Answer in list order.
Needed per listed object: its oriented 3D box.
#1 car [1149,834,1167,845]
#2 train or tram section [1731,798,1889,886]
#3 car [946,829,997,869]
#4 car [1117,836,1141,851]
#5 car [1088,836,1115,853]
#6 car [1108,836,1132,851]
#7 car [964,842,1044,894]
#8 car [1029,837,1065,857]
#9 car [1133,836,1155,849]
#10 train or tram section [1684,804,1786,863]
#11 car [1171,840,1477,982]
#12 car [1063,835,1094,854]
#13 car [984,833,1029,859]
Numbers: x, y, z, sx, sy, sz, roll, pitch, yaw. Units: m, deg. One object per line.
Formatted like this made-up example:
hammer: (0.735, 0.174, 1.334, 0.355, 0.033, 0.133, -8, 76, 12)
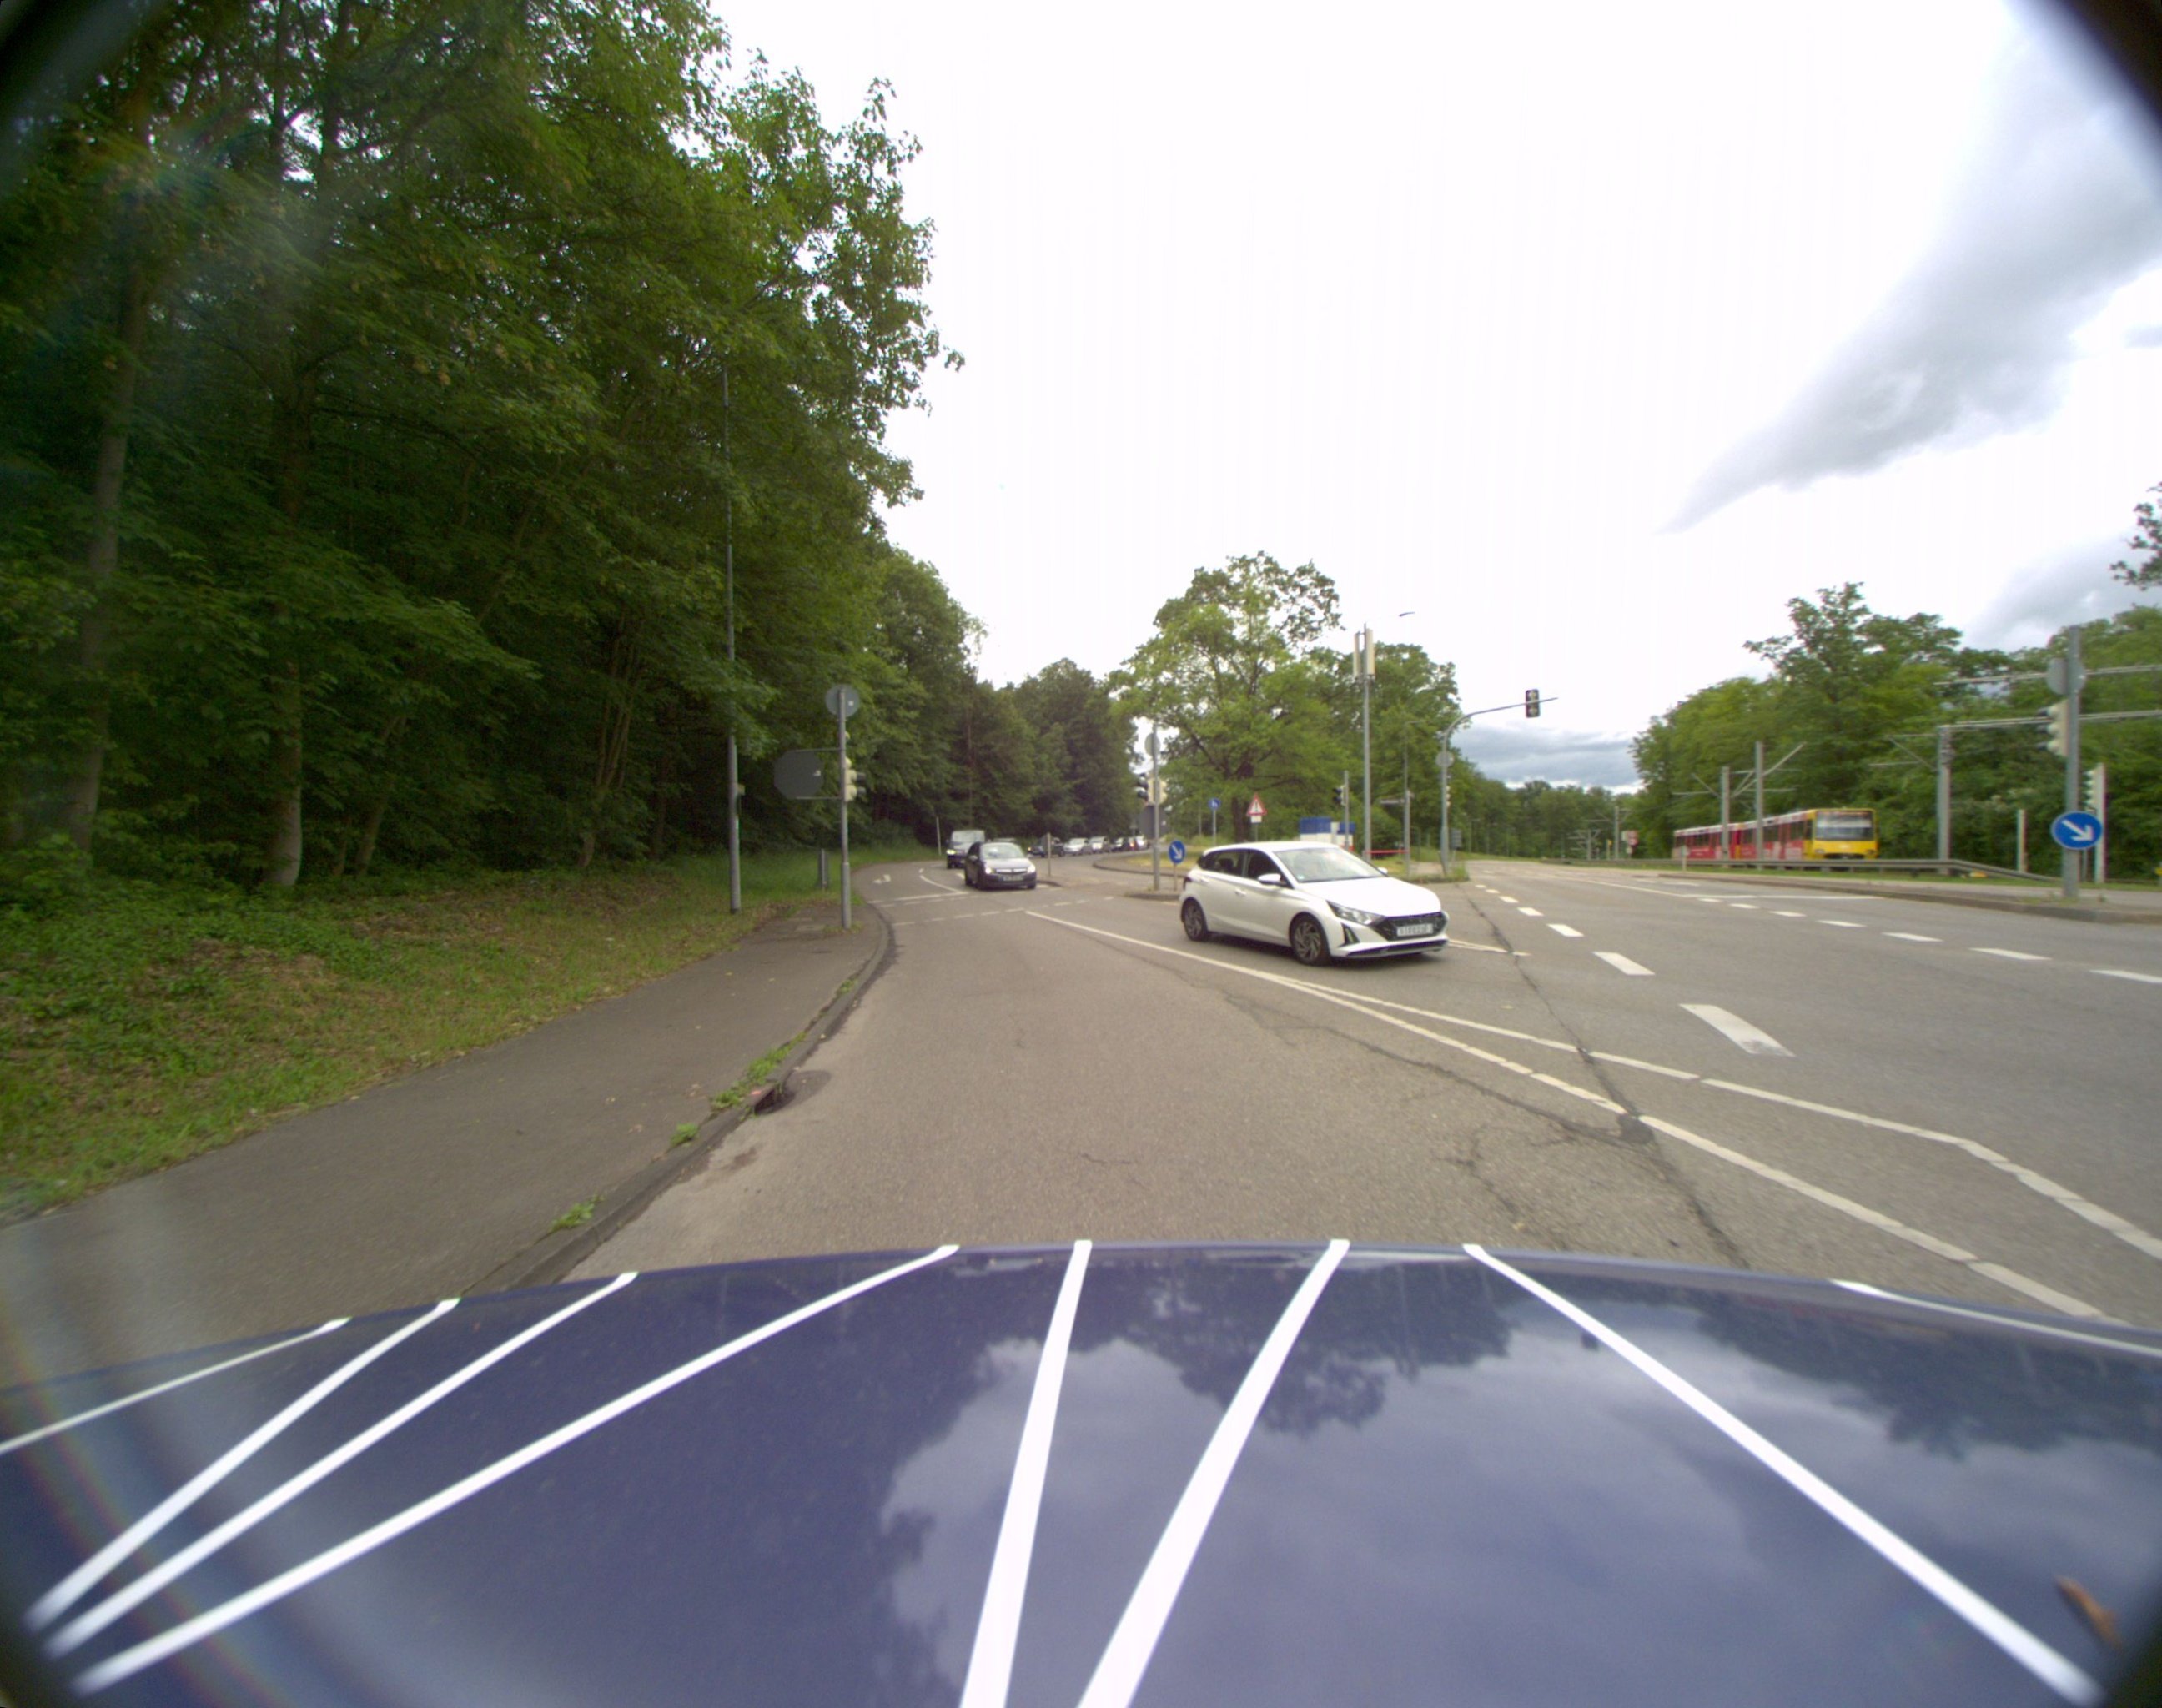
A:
car: (10.740, -1.971, 105.543, 1.776, 1.491, 3.877, 1, 1, 16)
train or tram section: (45.982, -1.072, 48.877, 2.948, 4.626, 18.575, 2, 4, 30)
car: (-5.416, -0.302, 38.042, 1.990, 1.862, 4.530, 0, 1, -1)
car: (5.257, -1.145, 82.453, 1.776, 1.491, 3.877, 1, 1, 16)
car: (1.958, -0.921, 71.233, 1.776, 1.491, 3.876, 1, 1, 13)
car: (3.944, -1.078, 76.553, 1.776, 1.491, 3.876, 1, 1, 13)
car: (-2.554, 0.371, 24.150, 1.805, 1.471, 4.463, 0, 1, -15)
car: (-2.594, -0.593, 58.844, 1.776, 1.491, 3.876, 1, 1, 13)
car: (7.465, -1.315, 89.435, 1.776, 1.491, 3.877, 1, 1, 16)
train or tram section: (55.347, -1.953, 64.985, 2.957, 4.395, 18.758, 2, 4, 30)
car: (2.938, 0.561, 10.189, 1.657, 1.471, 4.064, 0, 2, -23)
car: (-0.163, -0.812, 64.429, 1.776, 1.491, 3.876, 1, 1, 13)
car: (-4.872, -0.531, 50.371, 1.791, 1.664, 3.994, 0, 1, 13)
